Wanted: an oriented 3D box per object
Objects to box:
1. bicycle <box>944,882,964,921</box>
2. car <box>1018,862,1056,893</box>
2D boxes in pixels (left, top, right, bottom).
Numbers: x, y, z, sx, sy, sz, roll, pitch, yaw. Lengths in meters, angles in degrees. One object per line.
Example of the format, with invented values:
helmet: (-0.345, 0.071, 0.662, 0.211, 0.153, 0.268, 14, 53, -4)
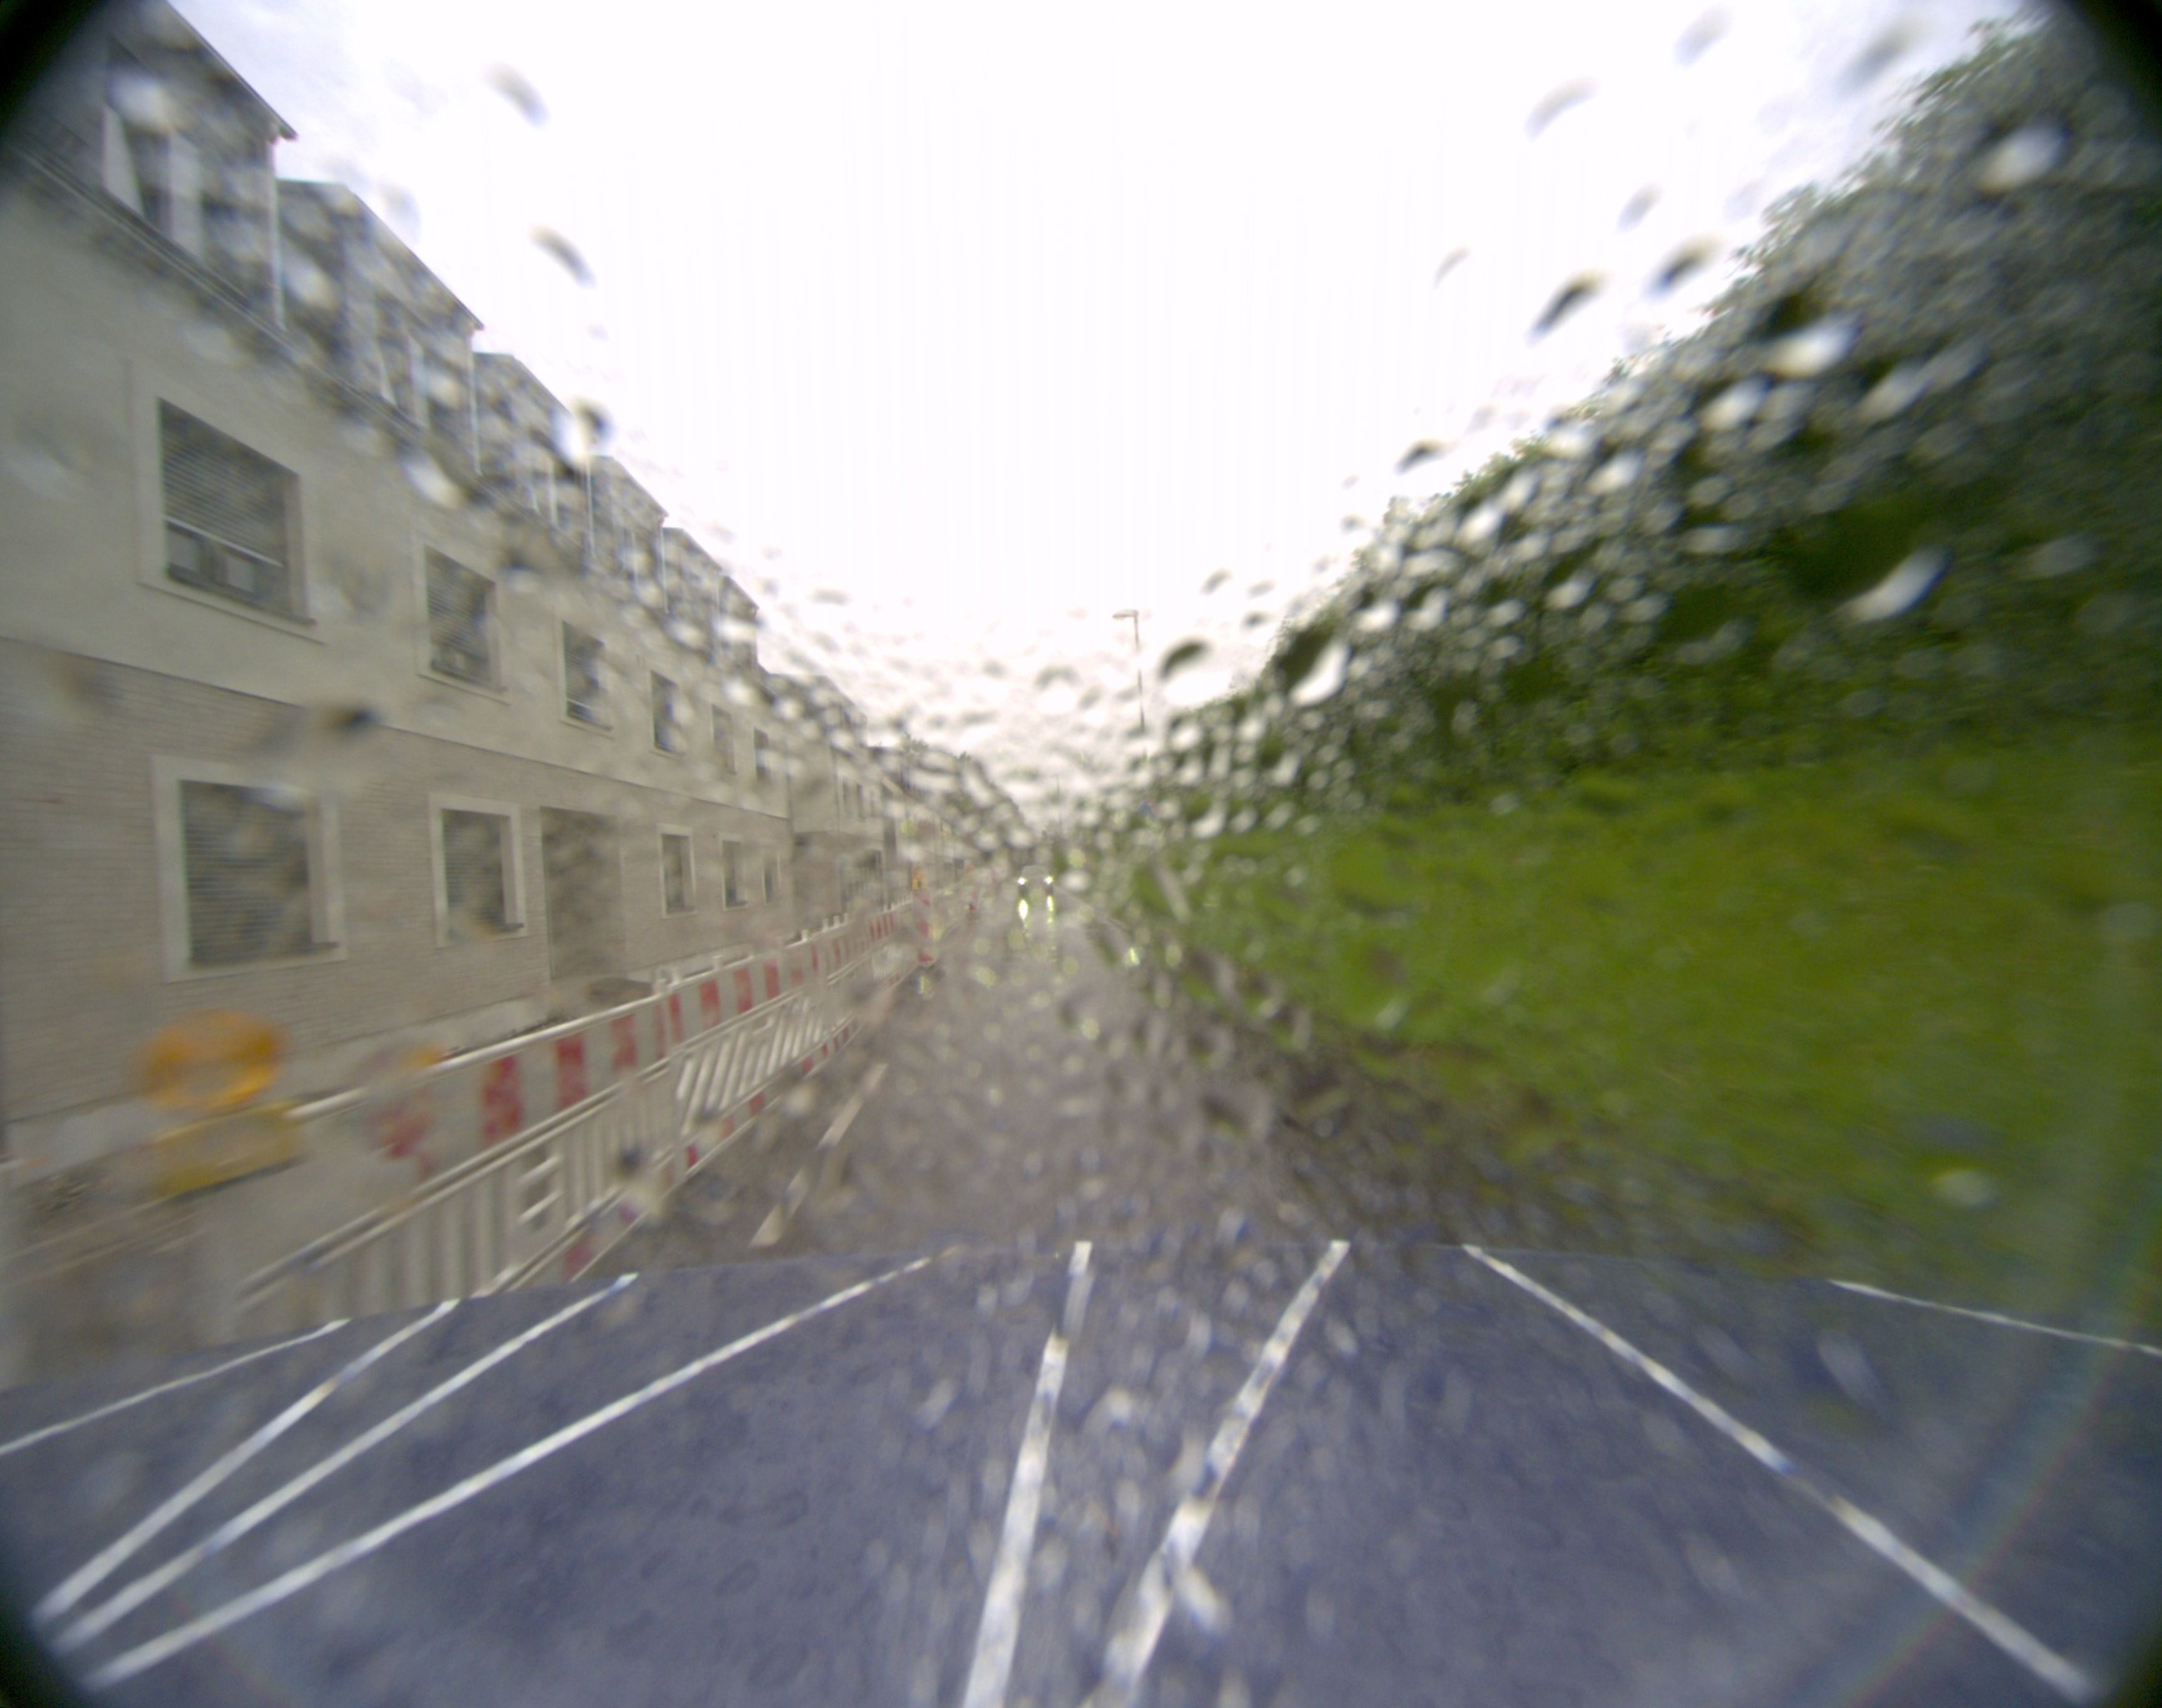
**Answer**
bicycle: (-3.976, 1.474, 23.887, 0.407, 1.137, 1.221, -3, 0, -3)
car: (-2.413, 1.208, 41.027, 1.852, 1.444, 4.530, -3, 0, -4)
